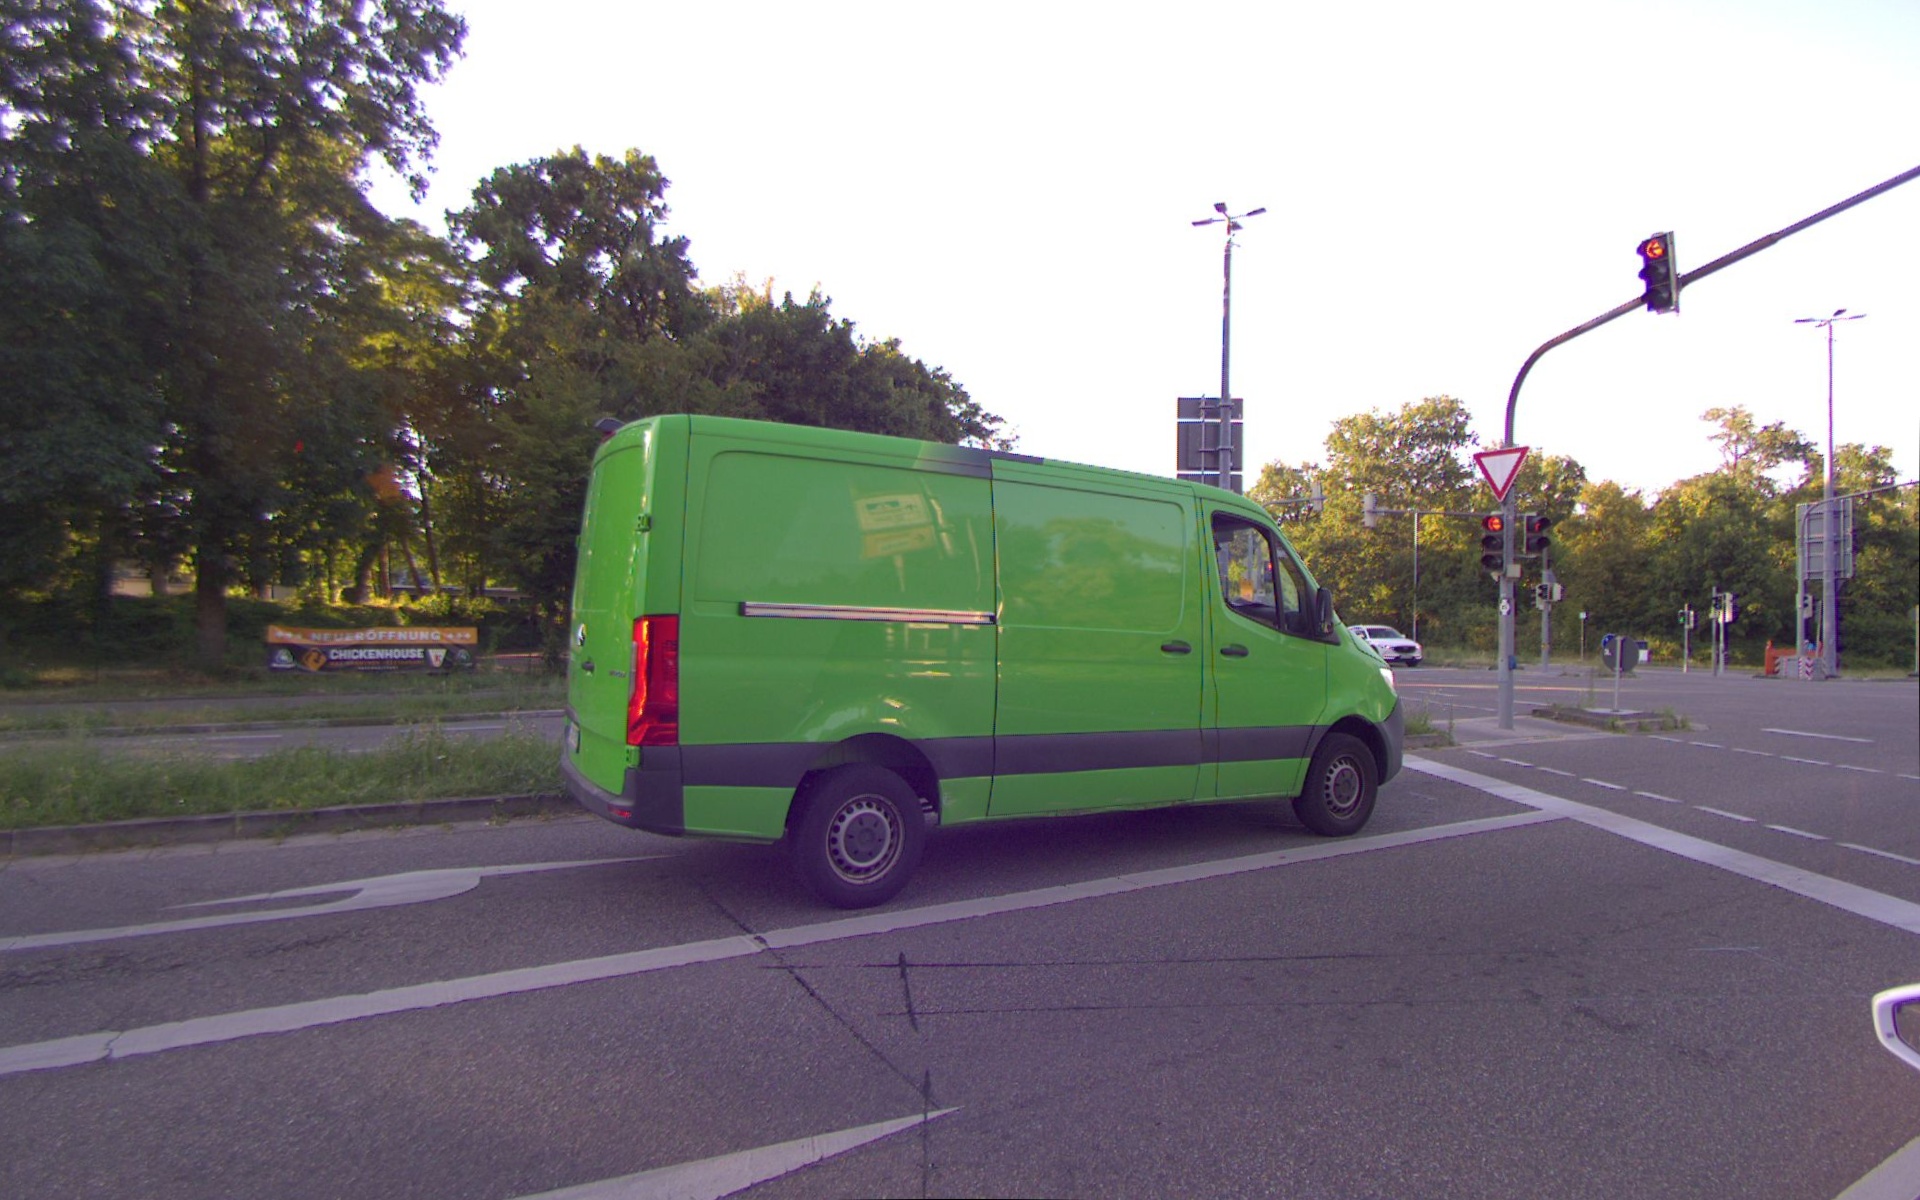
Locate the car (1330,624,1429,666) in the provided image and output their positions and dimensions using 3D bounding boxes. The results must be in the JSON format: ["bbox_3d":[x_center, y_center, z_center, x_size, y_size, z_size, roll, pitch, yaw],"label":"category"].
[{"bbox_3d":[17.492,1.847,42.104,1.963,1.661,4.252,1,-1,-8],"label":"car"}]

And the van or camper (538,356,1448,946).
[{"bbox_3d":[0.537,0.290,6.564,5.830,2.453,1.983,2,-1,-32],"label":"van or camper"}]

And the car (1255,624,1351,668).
[{"bbox_3d":[13.805,1.813,40.698,1.963,1.661,4.252,1,-1,-8],"label":"car"}]

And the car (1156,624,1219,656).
[{"bbox_3d":[12.682,2.214,56.199,1.964,1.661,4.250,1,-1,-10],"label":"car"}]

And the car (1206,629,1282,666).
[{"bbox_3d":[13.495,2.225,48.046,1.963,1.661,4.252,1,-1,-8],"label":"car"}]
